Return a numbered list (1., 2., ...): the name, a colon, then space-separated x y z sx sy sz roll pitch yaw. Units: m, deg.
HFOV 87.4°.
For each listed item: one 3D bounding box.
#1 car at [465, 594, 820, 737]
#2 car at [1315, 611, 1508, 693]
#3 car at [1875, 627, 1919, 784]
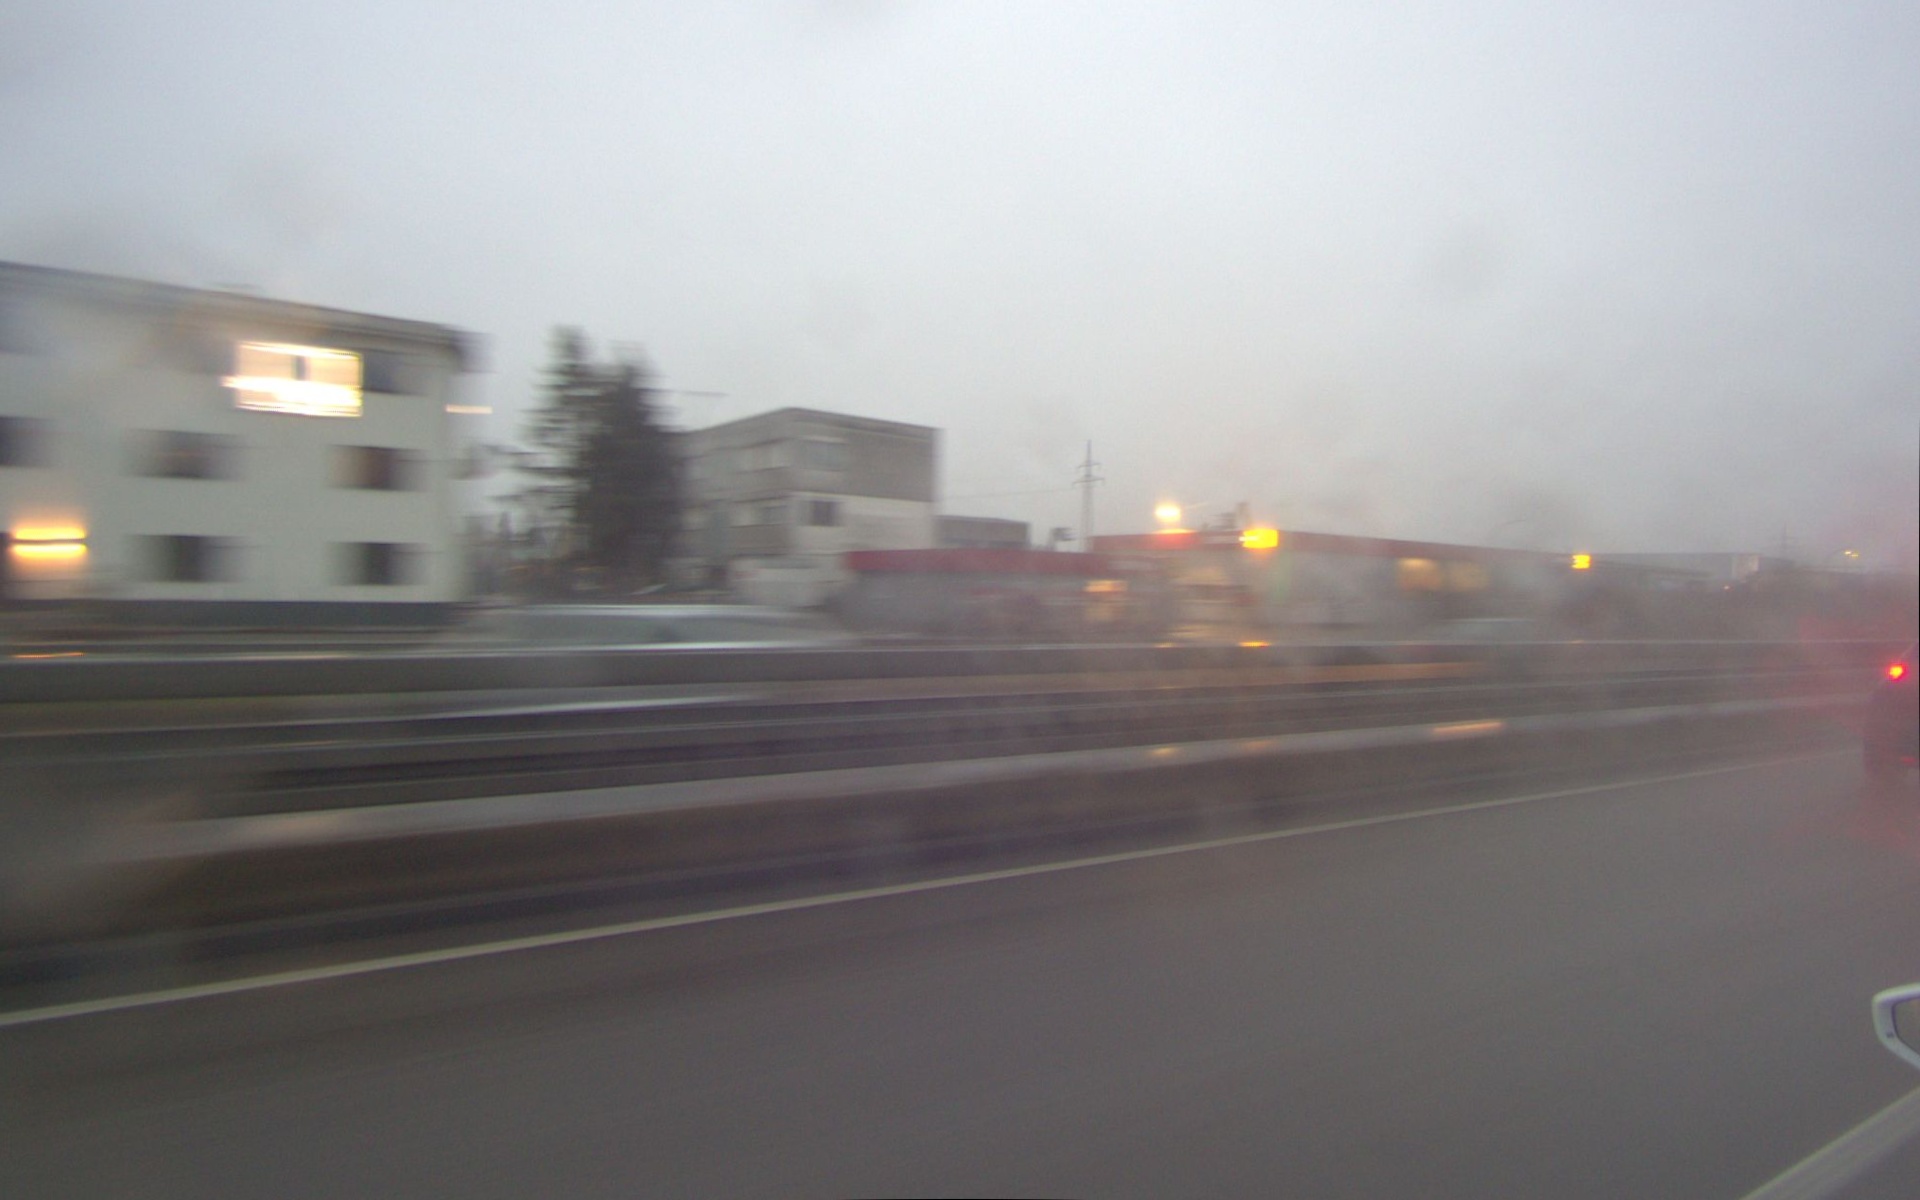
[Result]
1. car: -3.934 0.746 12.587 3.953 1.528 1.728 1 0 -30
2. car: 9.528 1.056 21.125 3.953 1.528 1.728 1 0 -30
3. car: 10.648 1.020 9.732 3.956 1.410 1.616 1 1 -32
